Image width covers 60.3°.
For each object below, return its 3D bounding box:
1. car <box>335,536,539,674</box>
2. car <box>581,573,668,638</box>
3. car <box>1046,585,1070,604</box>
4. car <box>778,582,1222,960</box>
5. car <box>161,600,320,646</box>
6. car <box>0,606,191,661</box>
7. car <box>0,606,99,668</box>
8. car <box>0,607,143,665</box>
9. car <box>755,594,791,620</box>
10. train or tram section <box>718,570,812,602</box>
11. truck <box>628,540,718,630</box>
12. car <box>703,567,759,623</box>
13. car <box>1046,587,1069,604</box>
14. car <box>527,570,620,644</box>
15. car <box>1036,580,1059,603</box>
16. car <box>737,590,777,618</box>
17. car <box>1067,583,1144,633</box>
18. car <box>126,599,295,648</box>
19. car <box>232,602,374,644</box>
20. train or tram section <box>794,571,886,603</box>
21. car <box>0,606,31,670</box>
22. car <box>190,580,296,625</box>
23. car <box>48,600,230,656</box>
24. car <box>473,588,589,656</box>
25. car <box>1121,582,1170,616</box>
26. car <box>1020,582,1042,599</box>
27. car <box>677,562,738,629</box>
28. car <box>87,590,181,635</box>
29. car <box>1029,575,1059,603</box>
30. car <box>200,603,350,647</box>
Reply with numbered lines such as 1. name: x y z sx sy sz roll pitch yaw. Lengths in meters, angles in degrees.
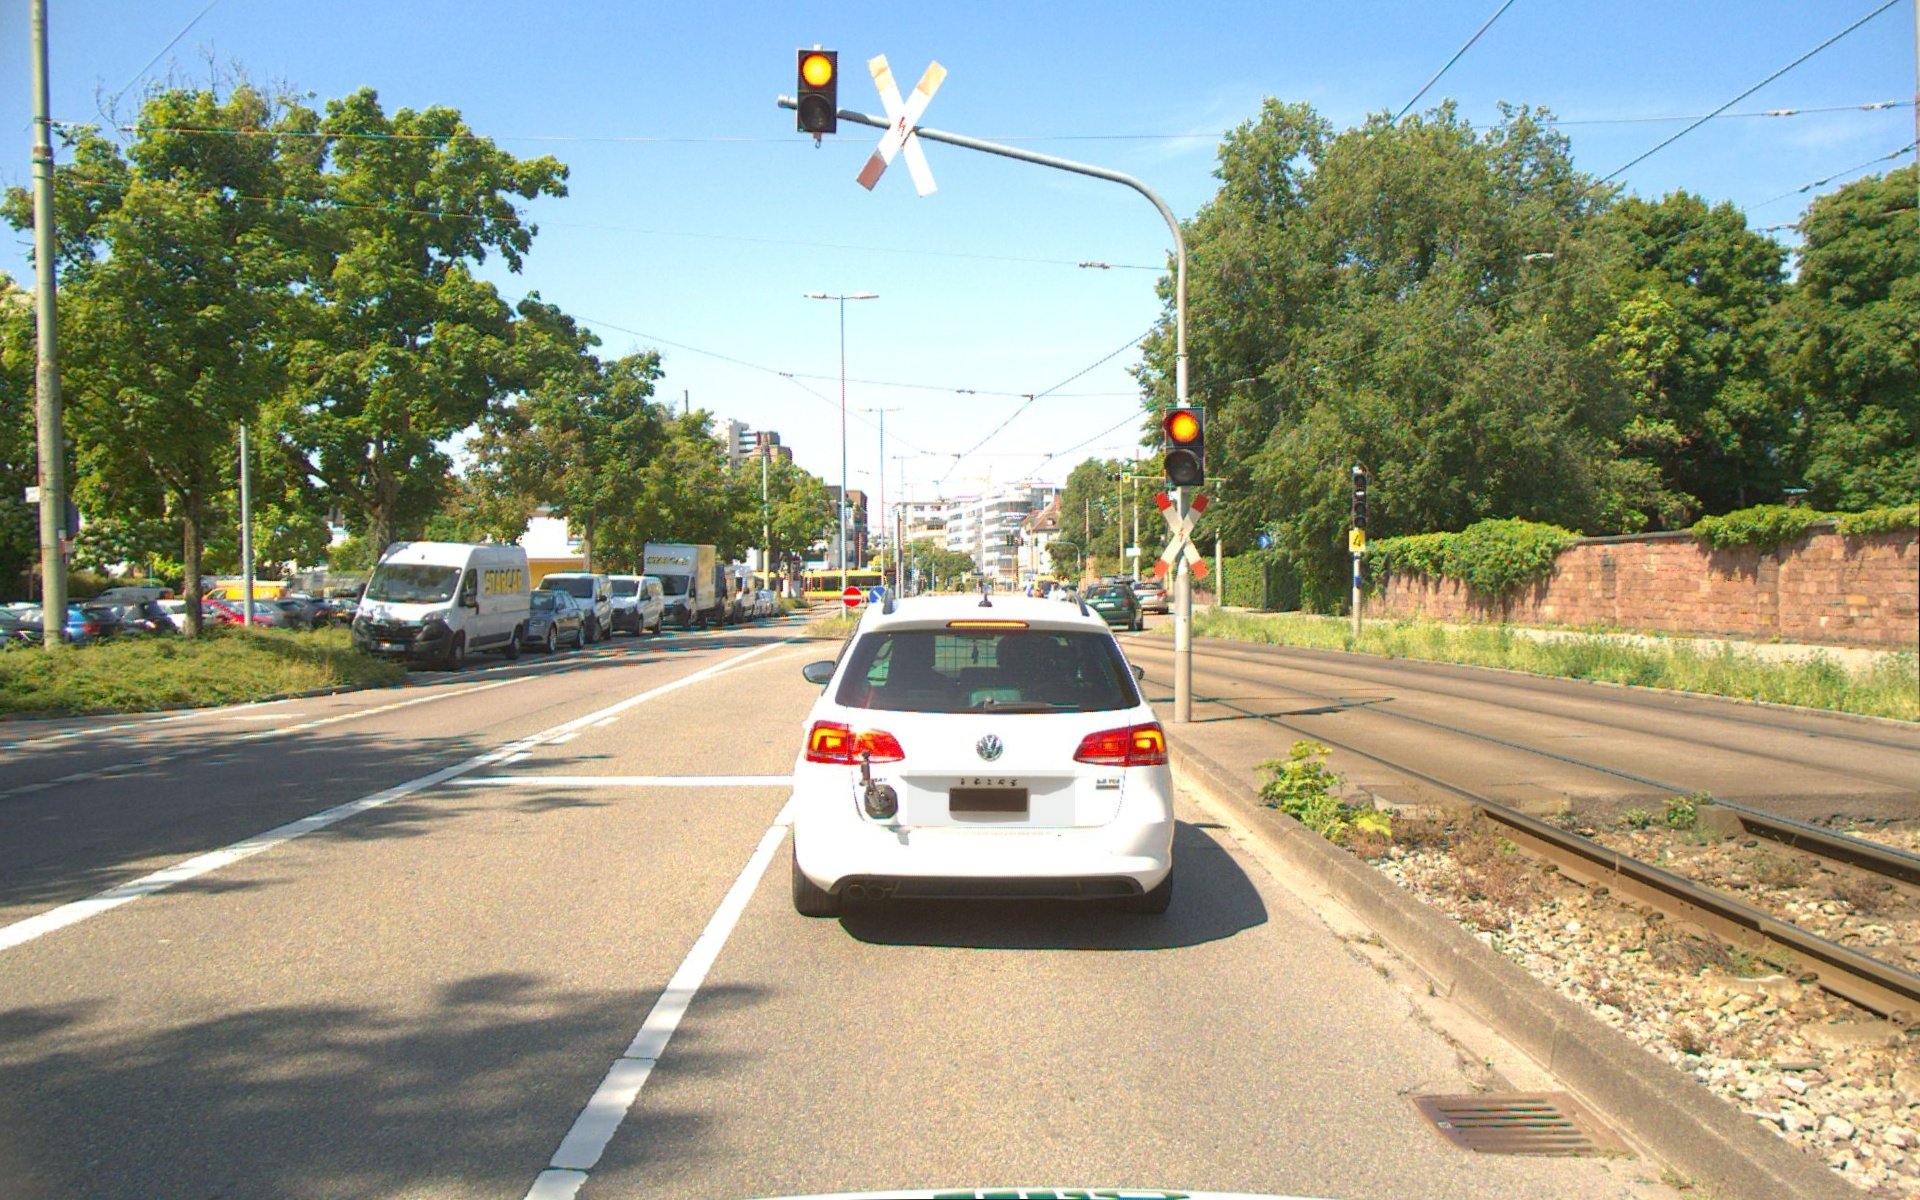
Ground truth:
1. car: -10.755 0.055 34.590 2.016 2.544 6.309 2 1 2
2. car: -10.938 0.151 54.280 1.806 1.994 5.133 -1 1 0
3. car: 7.373 -0.386 124.587 1.549 1.370 3.453 1 0 -1
4. car: 0.110 0.662 8.513 1.732 1.471 3.912 1 1 -2
5. car: -21.302 0.670 49.047 3.904 1.246 1.772 -1 0 2
6. car: -21.596 0.813 41.335 3.904 1.246 1.772 -1 0 2
7. car: -20.916 0.812 35.479 3.907 1.246 1.770 -1 0 -3
8. car: -21.227 0.832 38.106 3.904 1.246 1.772 -1 0 2
9. car: -11.167 0.382 98.844 1.744 1.458 4.037 -1 1 -1
10. train or tram section: -21.465 -1.590 181.790 10.559 3.309 2.307 1 0 25
11. truck: -10.803 -0.578 62.746 2.309 3.177 6.889 -1 1 -2
12. car: -10.801 -0.260 78.446 1.806 2.538 5.856 -1 1 0
13. car: 7.872 -0.341 133.912 1.549 1.370 3.453 1 0 -1
14. car: -11.051 0.175 47.657 1.807 1.971 5.189 -1 1 -4
15. car: 7.500 -0.726 141.903 1.657 1.844 3.453 1 0 -1
16. car: -11.462 0.216 93.466 1.806 1.458 4.037 -1 1 -1
17. car: 4.419 0.217 49.792 1.709 1.412 3.916 1 1 14
18. car: -21.039 0.648 46.527 3.904 1.286 1.772 -1 0 2
19. car: -21.379 0.731 53.915 3.904 1.246 1.772 -1 0 2
20. train or tram section: -12.877 -1.411 176.527 11.053 3.309 2.299 1 0 37
21. car: -20.894 0.798 32.800 3.907 1.246 1.770 -1 0 -3
22. car: -34.195 0.127 78.953 4.175 2.049 1.997 1 0 -7
23. car: -21.728 0.726 43.846 3.904 1.373 1.772 -1 0 2
24. car: -10.555 0.498 40.997 1.806 1.543 4.196 -1 1 -1
25. car: 8.167 -0.061 73.163 1.822 1.441 4.326 1 1 2
26. car: 7.208 -0.958 167.721 1.953 1.624 4.000 1 0 0
27. car: -10.695 -0.200 70.370 1.806 2.715 5.003 -1 0 0
28. car: -36.854 0.545 73.836 3.354 1.909 1.552 -1 0 -3
29. car: 7.868 -1.026 155.248 2.413 2.542 5.909 1 0 -1
30. car: -21.313 0.765 51.556 3.904 1.246 1.772 -1 0 2
